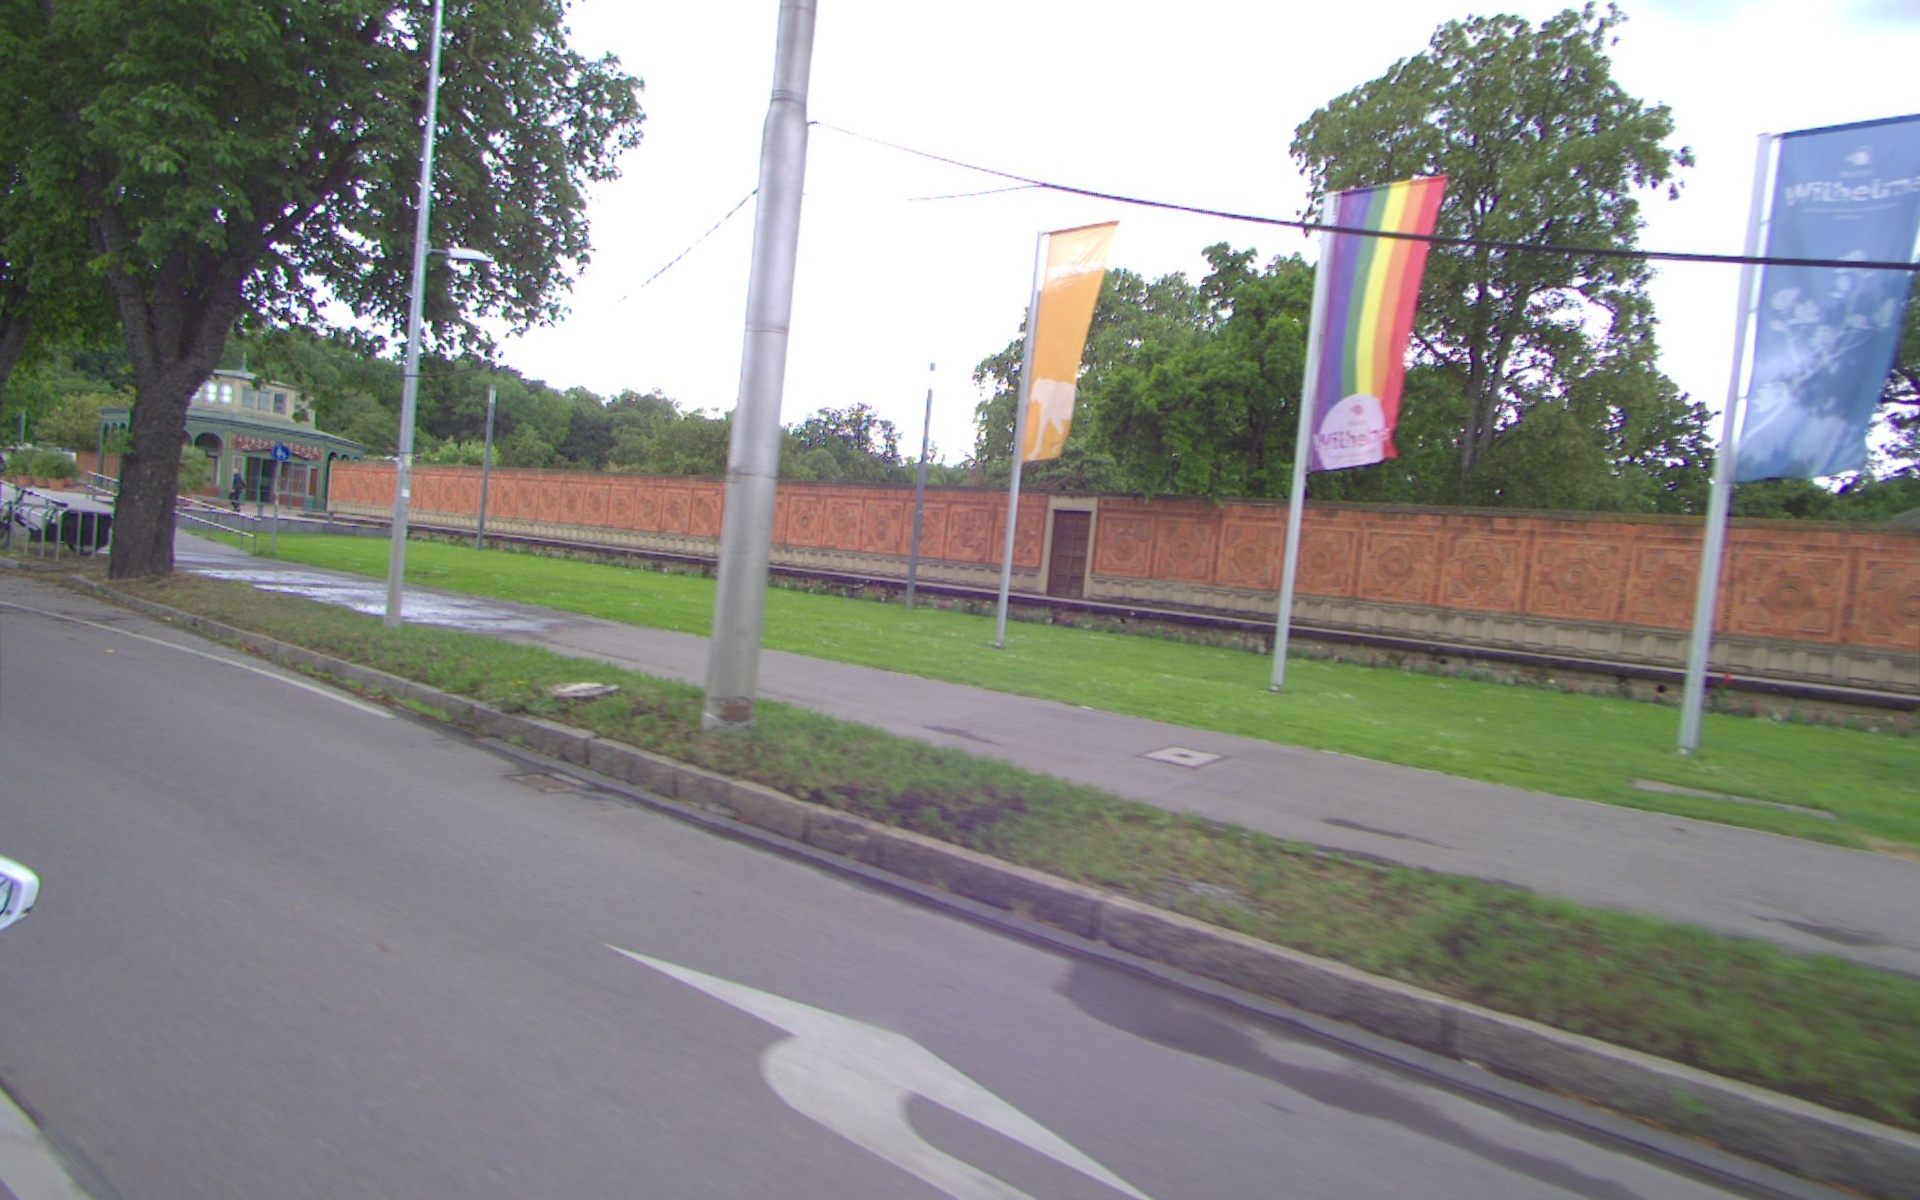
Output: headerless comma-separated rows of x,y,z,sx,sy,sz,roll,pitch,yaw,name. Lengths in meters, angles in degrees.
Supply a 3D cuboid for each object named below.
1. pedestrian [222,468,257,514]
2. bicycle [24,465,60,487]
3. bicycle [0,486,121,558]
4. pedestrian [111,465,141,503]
-31.965,-4.834,44.651,0.936,1.860,0.548,7,0,-11,pedestrian
-57.023,-7.719,62.484,1.683,1.074,0.564,7,0,5,bicycle
-17.695,-1.518,19.553,0.730,1.173,1.988,8,2,40,bicycle
-29.469,-4.108,35.547,0.658,1.216,0.549,7,0,29,pedestrian
